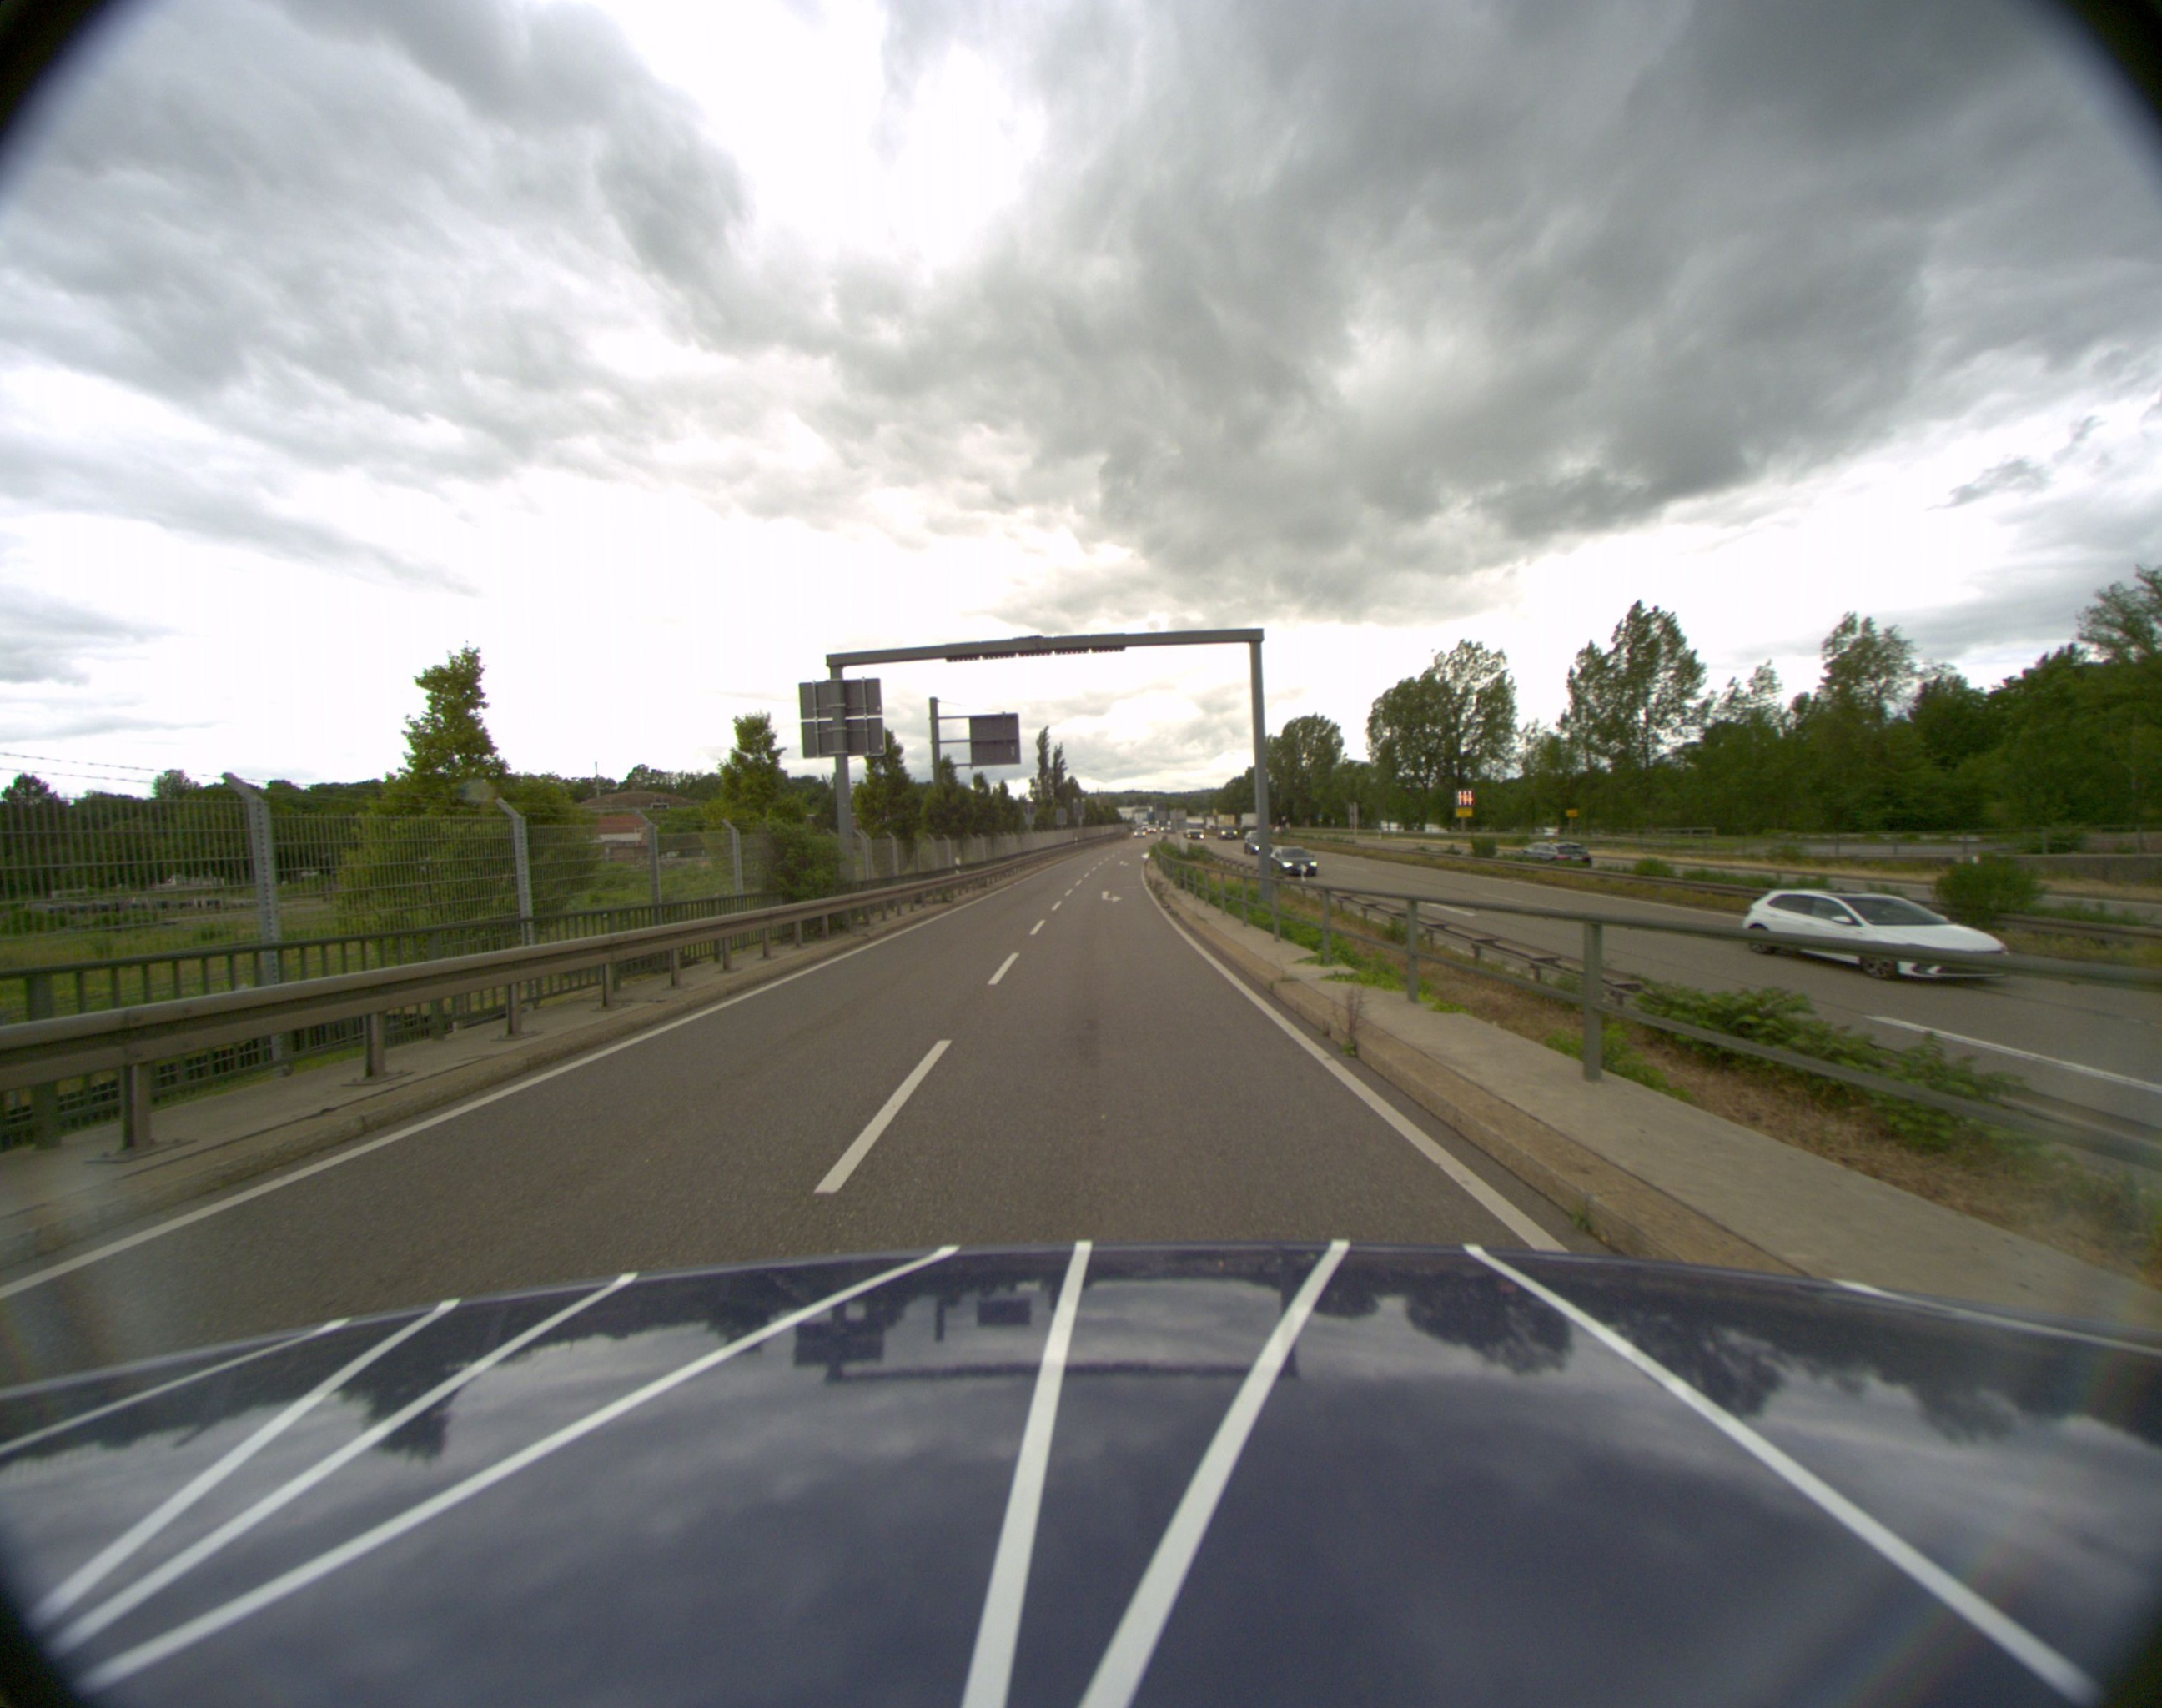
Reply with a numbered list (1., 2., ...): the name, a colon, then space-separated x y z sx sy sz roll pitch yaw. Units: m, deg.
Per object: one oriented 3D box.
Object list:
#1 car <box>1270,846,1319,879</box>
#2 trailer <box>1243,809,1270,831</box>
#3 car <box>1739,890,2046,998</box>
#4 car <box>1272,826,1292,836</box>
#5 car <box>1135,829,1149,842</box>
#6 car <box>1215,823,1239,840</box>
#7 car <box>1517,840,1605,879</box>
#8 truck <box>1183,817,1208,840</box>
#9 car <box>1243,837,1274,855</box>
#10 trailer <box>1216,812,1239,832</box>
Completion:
1. car: 11.104 0.408 39.819 1.939 1.492 4.305 0 2 8
2. trailer: 34.990 -6.830 151.945 2.796 3.928 13.508 -3 3 3
3. car: 15.465 1.621 14.871 1.858 1.491 4.000 -1 2 4
4. car: 29.593 -3.427 111.943 1.998 1.427 3.999 -1 2 3
5. car: 9.947 -2.990 123.974 1.997 2.002 4.001 -2 2 8
6. car: 19.202 -3.003 100.131 2.099 2.003 5.336 -1 3 0
7. car: 23.758 0.219 37.805 1.998 1.718 3.999 -1 2 3
8. truck: 16.211 -3.673 107.962 3.038 3.142 7.566 -1 3 4
9. car: 14.217 -0.660 60.998 1.728 1.320 3.646 -1 2 1
10. trailer: 37.901 -8.320 197.356 3.472 4.647 14.777 -2 2 2
